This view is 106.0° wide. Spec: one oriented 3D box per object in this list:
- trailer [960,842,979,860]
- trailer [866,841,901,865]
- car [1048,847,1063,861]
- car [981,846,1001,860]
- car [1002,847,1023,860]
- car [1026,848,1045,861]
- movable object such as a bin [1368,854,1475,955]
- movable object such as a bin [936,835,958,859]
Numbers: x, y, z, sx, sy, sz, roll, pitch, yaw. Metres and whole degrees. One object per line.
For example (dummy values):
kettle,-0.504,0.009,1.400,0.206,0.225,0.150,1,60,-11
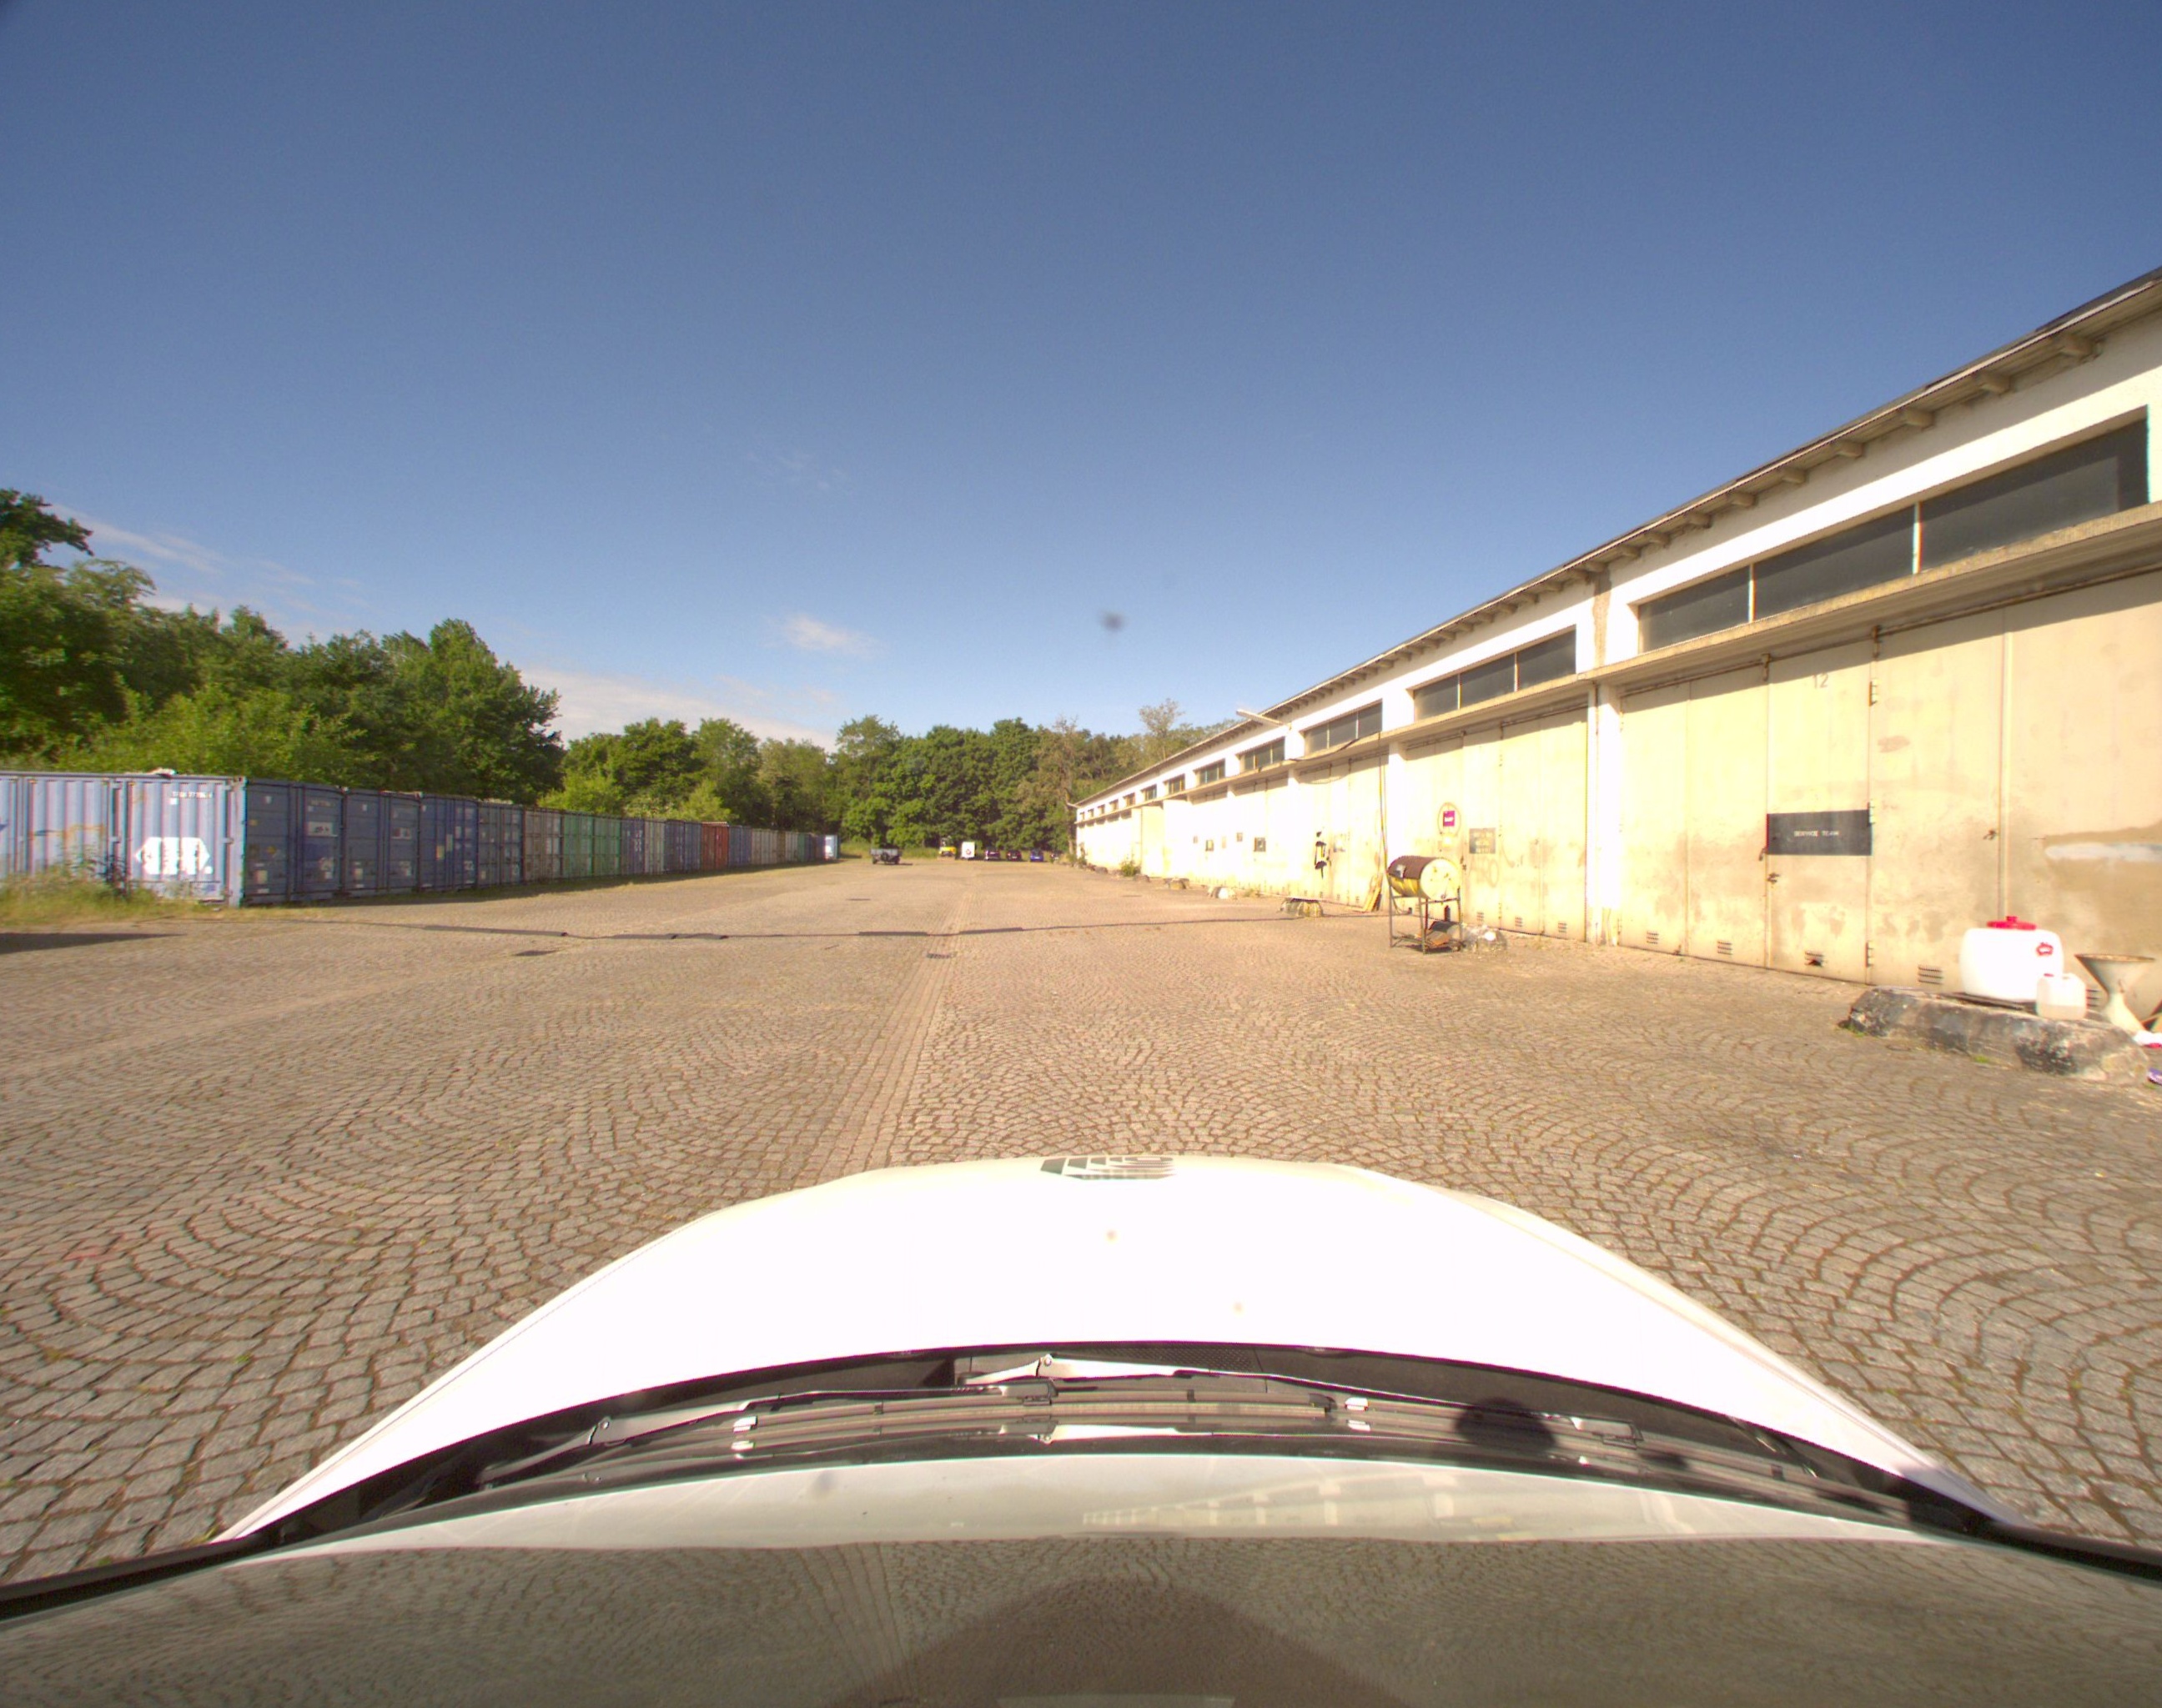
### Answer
trailer,-12.982,-0.363,94.795,1.790,2.090,3.967,0,0,-3
trailer,-18.116,-0.087,74.962,2.403,2.013,4.166,3,0,-5
car,-2.991,-0.019,95.896,1.680,1.563,3.999,0,0,0
car,-10.239,-0.083,93.242,1.855,1.585,3.999,0,0,0
car,-7.877,-0.039,93.988,1.987,1.462,3.999,0,0,0
car,-5.271,0.068,94.344,1.987,1.420,3.999,0,0,0
movable object such as a bin,4.797,0.674,11.559,0.824,1.331,1.275,0,0,-12
movable object such as a bin,-15.542,-0.788,94.734,1.989,2.618,3.996,2,0,-3
